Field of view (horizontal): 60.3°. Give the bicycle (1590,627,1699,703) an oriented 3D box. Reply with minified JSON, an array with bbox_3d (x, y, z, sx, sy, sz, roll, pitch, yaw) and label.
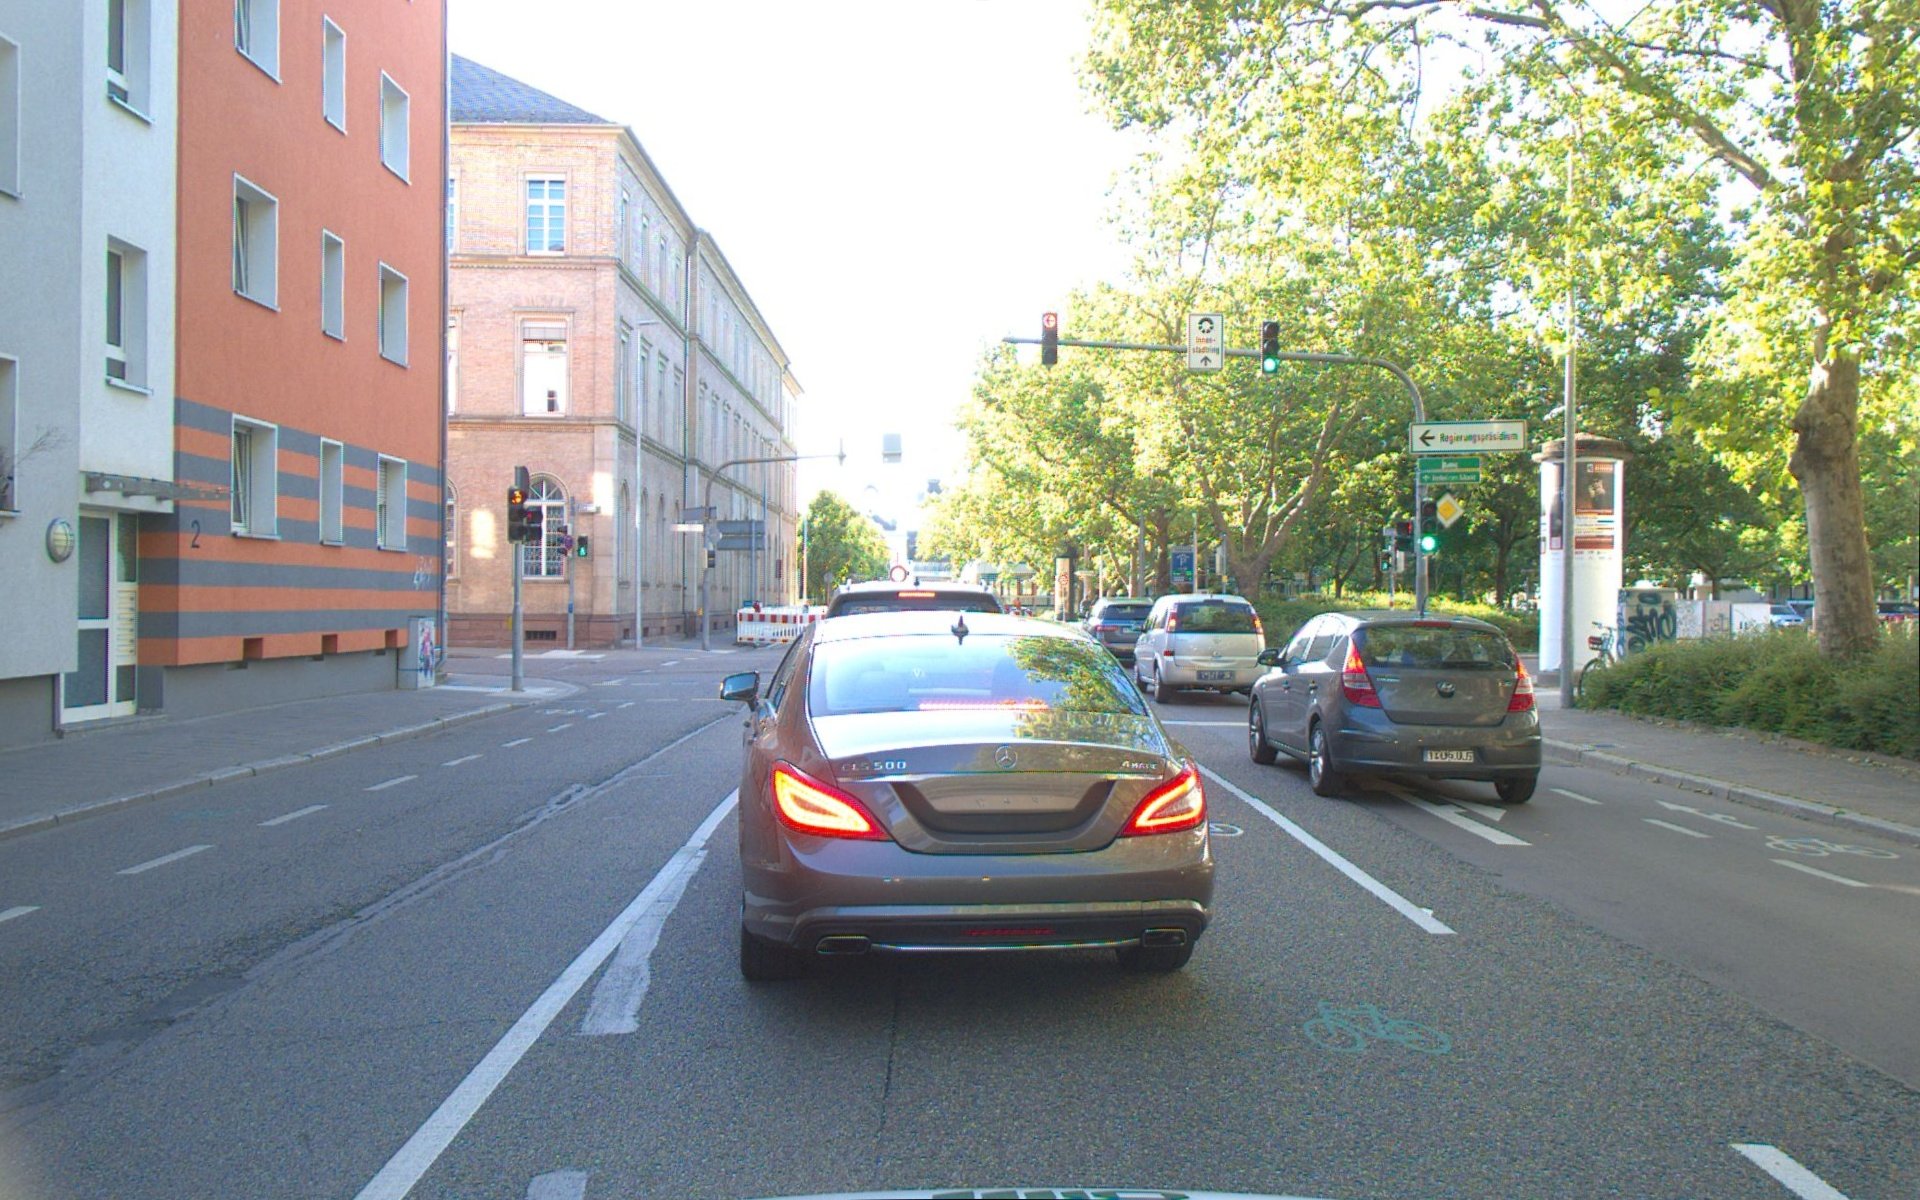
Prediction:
[{"bbox_3d":[9.873,0.920,23.838,1.868,1.046,0.633,1,-1,-39],"label":"bicycle"}]

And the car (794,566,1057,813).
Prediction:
[{"bbox_3d":[-0.268,0.619,13.592,1.823,1.712,3.999,1,0,-1],"label":"car"}]

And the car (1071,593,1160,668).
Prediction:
[{"bbox_3d":[3.440,0.657,37.087,1.568,1.576,3.680,1,0,-1],"label":"car"}]

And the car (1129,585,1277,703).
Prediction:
[{"bbox_3d":[3.712,0.644,25.797,1.696,1.691,3.680,1,0,-1],"label":"car"}]

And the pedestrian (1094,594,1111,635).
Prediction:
[{"bbox_3d":[6.375,0.636,74.059,0.623,1.828,0.698,1,-1,-5],"label":"pedestrian"}]

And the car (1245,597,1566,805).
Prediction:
[{"bbox_3d":[3.713,0.763,14.491,1.670,1.545,3.999,1,0,-1],"label":"car"}]

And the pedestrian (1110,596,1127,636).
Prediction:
[{"bbox_3d":[7.077,0.702,74.077,0.623,1.791,0.698,1,-1,-5],"label":"pedestrian"}]

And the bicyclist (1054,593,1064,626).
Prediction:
[{"bbox_3d":[6.291,0.597,105.076,0.583,2.075,0.565,1,-1,-5],"label":"bicyclist"}]

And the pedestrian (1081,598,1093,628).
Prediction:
[{"bbox_3d":[6.456,0.646,84.173,0.545,1.535,0.345,1,-1,-5],"label":"pedestrian"}]

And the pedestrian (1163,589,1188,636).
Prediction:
[{"bbox_3d":[7.342,0.424,56.346,0.623,1.572,0.909,1,0,-5],"label":"pedestrian"}]

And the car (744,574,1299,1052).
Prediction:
[{"bbox_3d":[-0.031,0.690,7.465,1.826,1.545,3.993,1,0,-8],"label":"car"}]
